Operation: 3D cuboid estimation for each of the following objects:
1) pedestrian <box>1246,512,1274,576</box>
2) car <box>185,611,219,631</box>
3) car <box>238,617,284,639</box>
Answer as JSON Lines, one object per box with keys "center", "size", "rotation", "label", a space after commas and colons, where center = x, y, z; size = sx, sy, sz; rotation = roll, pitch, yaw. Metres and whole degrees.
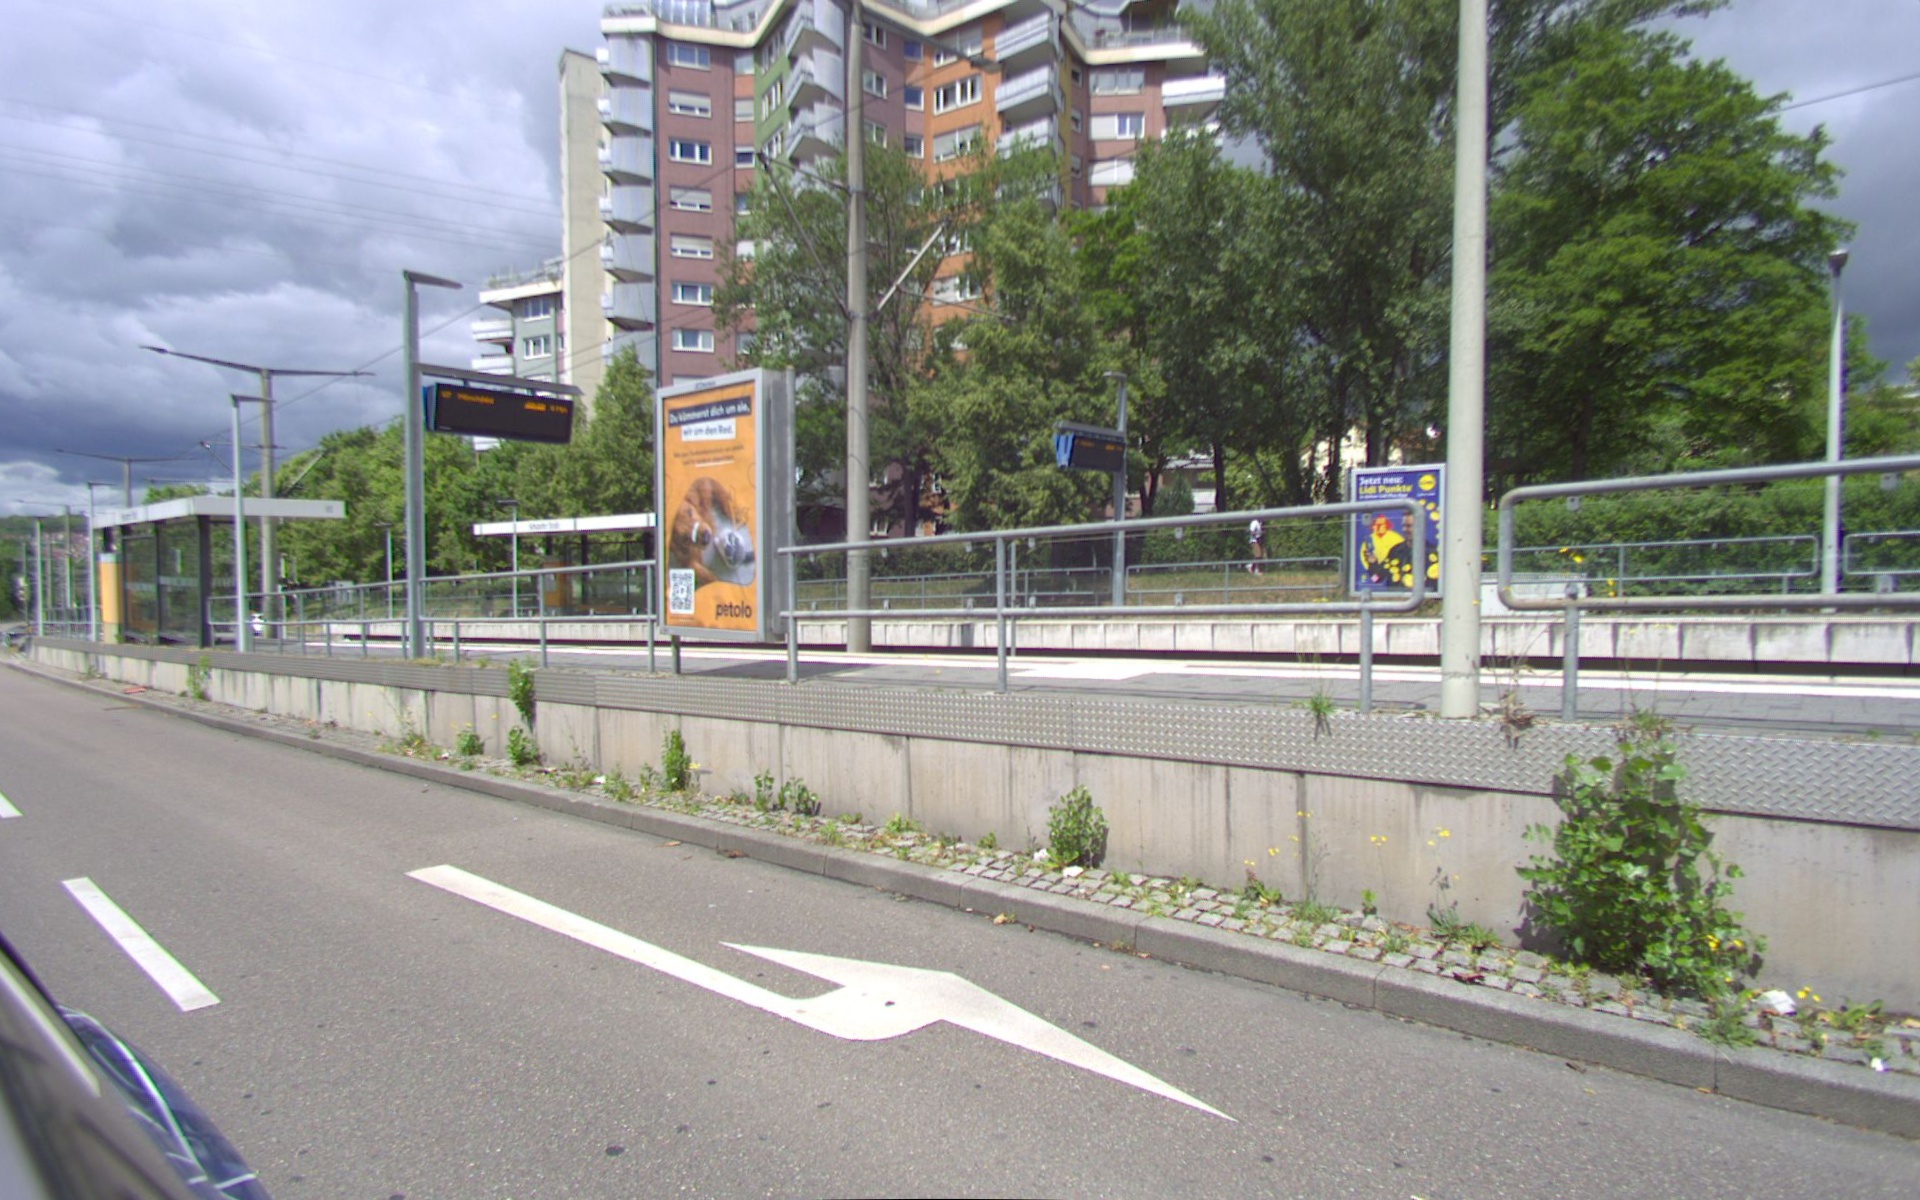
{"center": [8.299, -1.531, 28.034], "size": [0.504, 1.725, 0.643], "rotation": [-1, -1, 41], "label": "pedestrian"}
{"center": [-59.588, 1.630, 79.556], "size": [3.739, 1.524, 1.636], "rotation": [-1, -1, 45], "label": "car"}
{"center": [-47.166, 1.863, 68.247], "size": [3.998, 1.429, 1.637], "rotation": [-1, 0, 41], "label": "car"}
